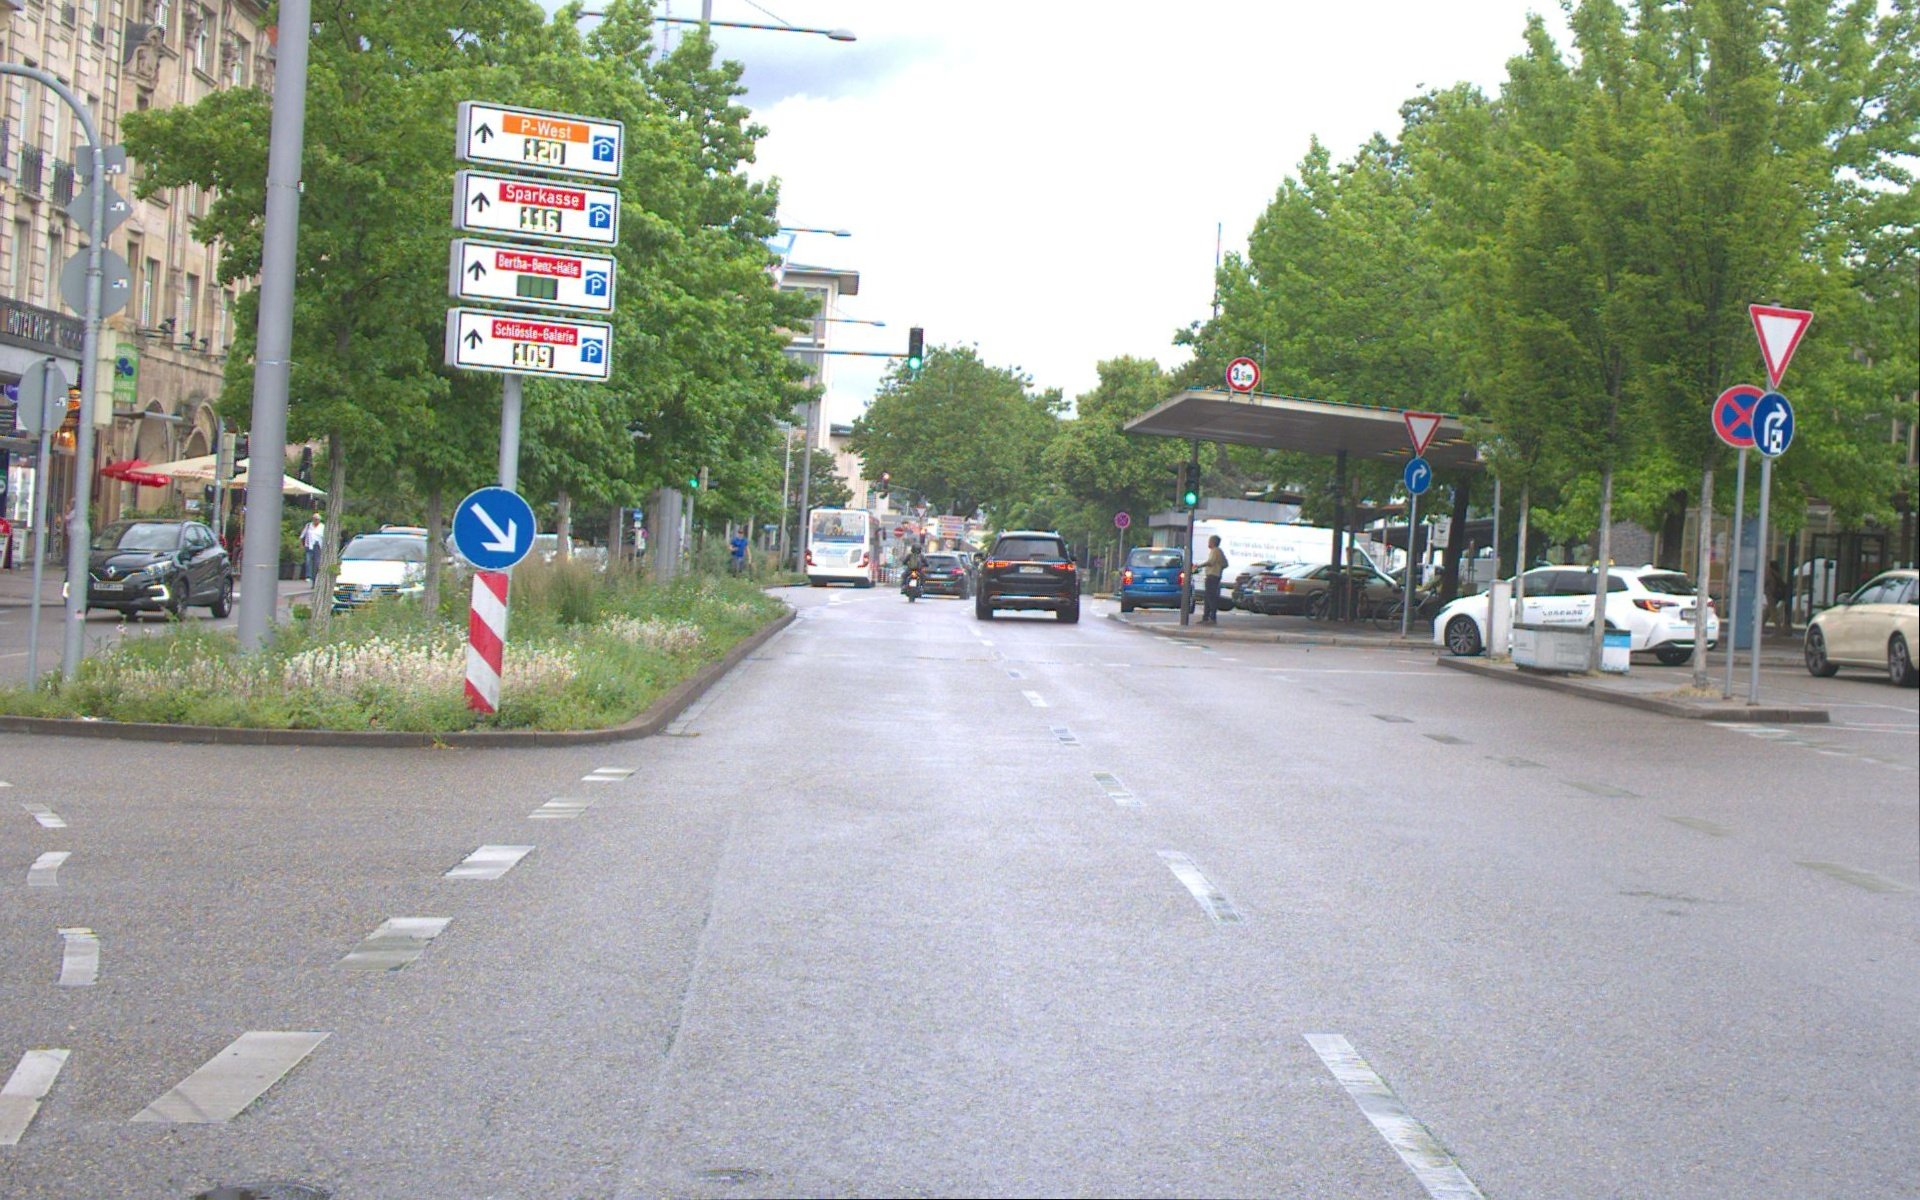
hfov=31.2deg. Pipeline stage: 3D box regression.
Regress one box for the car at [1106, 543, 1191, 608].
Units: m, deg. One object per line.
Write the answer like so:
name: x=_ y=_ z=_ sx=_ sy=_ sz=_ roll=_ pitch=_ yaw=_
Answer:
car: x=4.651 y=-0.623 z=85.408 sx=1.816 sy=1.525 sz=4.000 roll=1 pitch=1 yaw=-1

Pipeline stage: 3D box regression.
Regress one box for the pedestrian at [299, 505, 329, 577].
pedestrian: x=-15.657 y=-1.437 z=83.335 sx=0.575 sy=1.726 sz=0.609 roll=2 pitch=1 yaw=-1

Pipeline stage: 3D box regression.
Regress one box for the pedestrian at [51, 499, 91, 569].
pedestrian: x=-19.350 y=-1.444 z=74.805 sx=0.661 sy=1.505 sz=0.519 roll=1 pitch=1 yaw=-38

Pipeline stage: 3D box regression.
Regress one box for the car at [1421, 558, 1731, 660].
car: x=9.099 y=0.110 z=51.076 sx=1.774 sy=1.380 sz=4.366 roll=0 pitch=1 yaw=-41

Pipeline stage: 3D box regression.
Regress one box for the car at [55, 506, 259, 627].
car: x=-12.414 y=-0.558 z=53.401 sx=1.772 sy=1.525 sz=4.078 roll=3 pitch=5 yaw=7

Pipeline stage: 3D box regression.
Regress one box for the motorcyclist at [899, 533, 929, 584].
motorcyclist: x=-1.220 y=-1.109 z=91.182 sx=0.764 sy=1.327 sz=0.866 roll=2 pitch=1 yaw=0

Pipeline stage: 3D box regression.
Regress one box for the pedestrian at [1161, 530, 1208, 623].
pedestrian: x=4.350 y=-0.455 z=66.572 sx=0.717 sy=1.785 sz=0.666 roll=1 pitch=1 yaw=-12

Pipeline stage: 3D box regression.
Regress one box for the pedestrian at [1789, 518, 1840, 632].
pedestrian: x=18.307 y=-0.545 z=73.672 sx=0.843 sy=2.403 sz=0.862 roll=1 pitch=1 yaw=1

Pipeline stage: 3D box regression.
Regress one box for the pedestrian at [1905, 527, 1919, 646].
pedestrian: x=16.528 y=-0.226 z=58.196 sx=0.769 sy=2.007 sz=0.828 roll=1 pitch=1 yaw=-2

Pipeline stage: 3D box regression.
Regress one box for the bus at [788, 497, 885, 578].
bus: x=-5.161 y=-2.643 z=147.048 sx=3.760 sy=3.198 sz=15.527 roll=1 pitch=1 yaw=-1

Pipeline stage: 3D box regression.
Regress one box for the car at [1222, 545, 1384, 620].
car: x=9.638 y=-0.498 z=96.659 sx=3.986 sy=2.007 sz=2.001 roll=1 pitch=1 yaw=-20

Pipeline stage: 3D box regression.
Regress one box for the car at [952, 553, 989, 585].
car: x=0.488 y=-1.475 z=164.530 sx=1.708 sy=1.469 sz=4.000 roll=1 pitch=1 yaw=-1

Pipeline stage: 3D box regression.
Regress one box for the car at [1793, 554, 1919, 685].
car: x=12.606 y=0.233 z=44.309 sx=1.993 sy=1.594 sz=4.824 roll=1 pitch=1 yaw=-7

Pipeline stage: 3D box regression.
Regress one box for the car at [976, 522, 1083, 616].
car: x=1.374 y=-0.656 z=69.848 sx=1.993 sy=1.800 sz=4.690 roll=1 pitch=1 yaw=-1

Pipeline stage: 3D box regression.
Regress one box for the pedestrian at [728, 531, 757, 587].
pedestrian: x=-6.629 y=-1.250 z=104.854 sx=0.758 sy=1.695 sz=0.559 roll=2 pitch=1 yaw=6

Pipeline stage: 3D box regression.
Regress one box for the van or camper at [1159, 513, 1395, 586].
van or camper: x=9.501 y=-1.500 z=102.794 sx=6.753 sy=2.007 sz=2.385 roll=1 pitch=0 yaw=-26

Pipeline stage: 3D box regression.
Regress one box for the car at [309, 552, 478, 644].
car: x=-9.022 y=-0.066 z=55.114 sx=1.724 sy=1.377 sz=4.859 roll=1 pitch=1 yaw=2

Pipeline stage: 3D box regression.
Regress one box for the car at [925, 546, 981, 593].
car: x=-0.251 y=-0.987 z=109.211 sx=1.708 sy=1.443 sz=4.000 roll=1 pitch=1 yaw=-1

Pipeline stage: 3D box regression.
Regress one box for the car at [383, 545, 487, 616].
car: x=-11.306 y=-0.441 z=74.229 sx=1.630 sy=1.471 sz=4.026 roll=0 pitch=1 yaw=0

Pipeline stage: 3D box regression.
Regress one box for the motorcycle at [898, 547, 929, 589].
motorcycle: x=-1.224 y=-0.848 z=91.156 sx=0.766 sy=1.073 sz=2.175 roll=2 pitch=1 yaw=0

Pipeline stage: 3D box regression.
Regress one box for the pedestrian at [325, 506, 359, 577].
pedestrian: x=-14.979 y=-1.426 z=83.341 sx=0.674 sy=1.696 sz=0.634 roll=1 pitch=1 yaw=-1

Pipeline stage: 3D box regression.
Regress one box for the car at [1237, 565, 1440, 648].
car: x=9.054 y=0.153 z=82.290 sx=4.335 sy=1.851 sz=2.001 roll=1 pitch=1 yaw=-20
